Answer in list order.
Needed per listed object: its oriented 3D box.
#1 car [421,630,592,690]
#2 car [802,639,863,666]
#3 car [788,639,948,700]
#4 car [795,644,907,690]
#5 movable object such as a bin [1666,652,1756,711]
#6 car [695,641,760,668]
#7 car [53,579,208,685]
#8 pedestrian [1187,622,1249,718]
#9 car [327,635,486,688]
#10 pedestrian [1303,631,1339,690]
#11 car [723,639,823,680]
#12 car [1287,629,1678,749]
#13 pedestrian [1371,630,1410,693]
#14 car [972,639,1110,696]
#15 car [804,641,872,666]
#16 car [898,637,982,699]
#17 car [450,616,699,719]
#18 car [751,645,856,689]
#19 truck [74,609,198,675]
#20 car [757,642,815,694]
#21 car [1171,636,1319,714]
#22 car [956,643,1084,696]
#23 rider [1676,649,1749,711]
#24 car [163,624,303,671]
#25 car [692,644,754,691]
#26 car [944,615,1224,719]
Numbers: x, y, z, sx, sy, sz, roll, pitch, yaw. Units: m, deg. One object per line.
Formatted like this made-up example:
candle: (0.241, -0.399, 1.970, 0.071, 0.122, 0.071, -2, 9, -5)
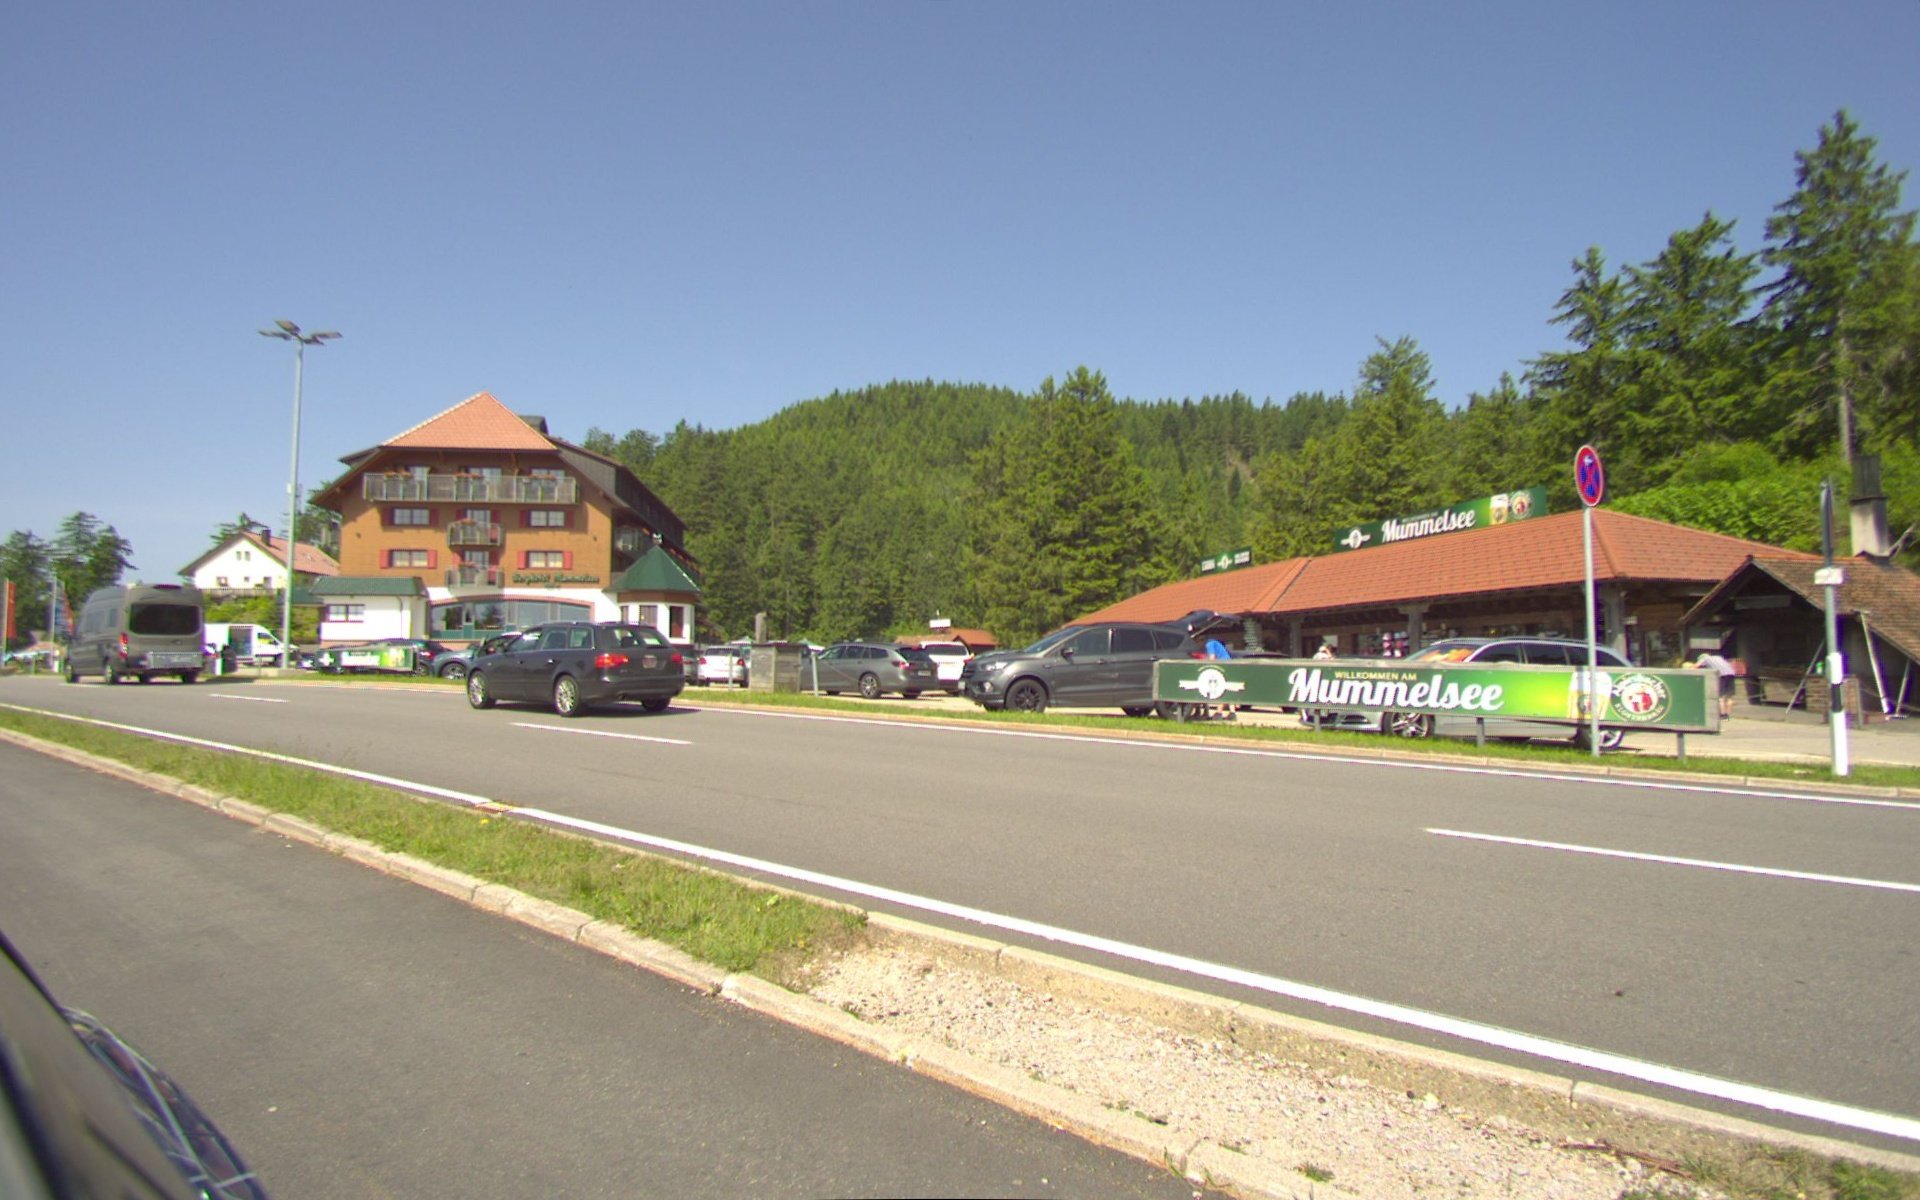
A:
car: (-13.039, 1.742, 29.353, 4.201, 1.641, 1.828, 1, -3, -11)
car: (-8.704, 3.574, 69.046, 4.029, 1.729, 1.924, 1, -3, -10)
car: (-2.415, 1.759, 26.297, 3.991, 1.441, 1.701, -1, -4, 35)
car: (-4.127, 2.526, 38.071, 4.028, 1.641, 1.828, 1, -3, -11)
movable object such as a bin: (16.008, 1.724, 21.609, 0.970, 1.198, 1.217, 0, -2, -1)
car: (-15.339, 3.612, 66.987, 4.029, 1.729, 1.924, 1, -3, -10)
car: (-23.848, 0.938, 29.016, 5.906, 2.772, 1.993, -2, -3, 37)
pedestrian: (4.549, 1.226, 17.864, 0.734, 1.648, 0.849, 1, -3, -14)
car: (-18.101, 2.033, 33.292, 4.201, 1.641, 1.828, 1, -3, -11)
pedestrian: (12.598, 2.097, 35.345, 0.951, 2.029, 0.855, 0, -2, 2)
car: (-7.934, 2.510, 42.934, 4.028, 1.641, 1.828, 1, -3, -11)
car: (6.826, 1.158, 13.408, 4.429, 1.441, 1.725, 1, -3, -10)
pedestrian: (13.961, 1.986, 32.860, 0.711, 2.029, 0.930, 1, -2, -16)
car: (2.551, 2.149, 32.456, 4.028, 1.729, 1.924, 1, -3, -10)
car: (-8.830, 3.880, 73.155, 4.768, 1.729, 1.924, 1, -3, -9)
car: (-0.672, 2.027, 30.726, 1.889, 1.729, 4.103, 1, -3, -10)
car: (-6.286, 1.037, 16.297, 4.444, 1.449, 1.690, -2, -3, 38)
car: (-6.260, 2.659, 40.364, 4.028, 1.641, 1.828, 1, -3, -11)
truck: (-52.643, 2.709, 65.008, 2.835, 3.850, 9.043, -1, -2, -16)
car: (-5.851, 2.281, 34.308, 1.795, 1.641, 4.102, 1, -3, -8)
car: (6.895, 1.805, 24.995, 1.889, 1.729, 4.103, 1, -3, -10)
car: (2.051, 2.399, 35.002, 4.026, 1.729, 1.925, 2, -3, -13)
rider: (16.019, 1.691, 21.566, 0.827, 1.284, 0.909, 0, -2, -1)
car: (-45.110, 2.967, 63.000, 6.850, 2.812, 2.673, 2, -3, -35)
car: (-8.324, 2.365, 35.849, 1.795, 1.524, 4.102, 1, -3, -8)
car: (2.103, 1.174, 17.568, 4.477, 1.669, 1.726, 1, -3, -12)
